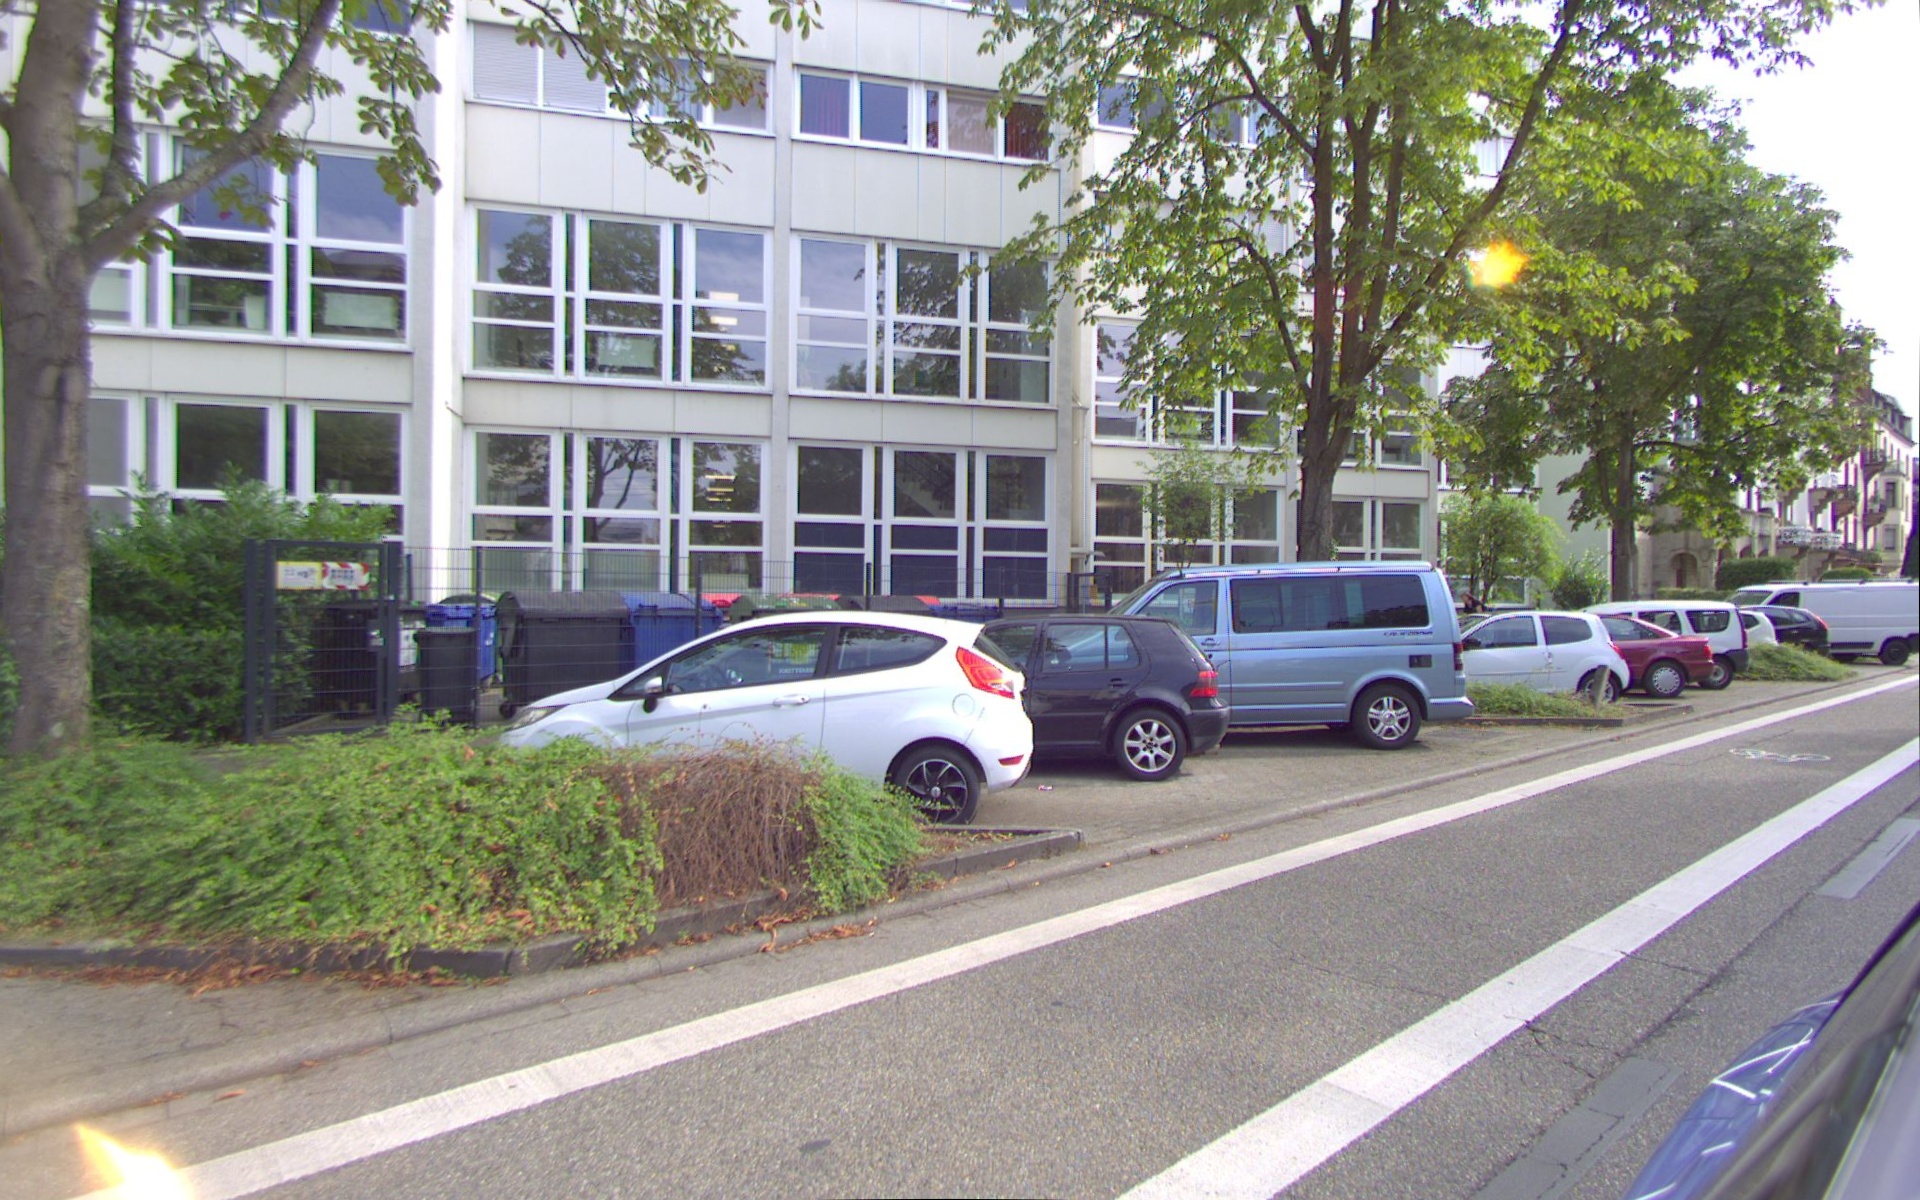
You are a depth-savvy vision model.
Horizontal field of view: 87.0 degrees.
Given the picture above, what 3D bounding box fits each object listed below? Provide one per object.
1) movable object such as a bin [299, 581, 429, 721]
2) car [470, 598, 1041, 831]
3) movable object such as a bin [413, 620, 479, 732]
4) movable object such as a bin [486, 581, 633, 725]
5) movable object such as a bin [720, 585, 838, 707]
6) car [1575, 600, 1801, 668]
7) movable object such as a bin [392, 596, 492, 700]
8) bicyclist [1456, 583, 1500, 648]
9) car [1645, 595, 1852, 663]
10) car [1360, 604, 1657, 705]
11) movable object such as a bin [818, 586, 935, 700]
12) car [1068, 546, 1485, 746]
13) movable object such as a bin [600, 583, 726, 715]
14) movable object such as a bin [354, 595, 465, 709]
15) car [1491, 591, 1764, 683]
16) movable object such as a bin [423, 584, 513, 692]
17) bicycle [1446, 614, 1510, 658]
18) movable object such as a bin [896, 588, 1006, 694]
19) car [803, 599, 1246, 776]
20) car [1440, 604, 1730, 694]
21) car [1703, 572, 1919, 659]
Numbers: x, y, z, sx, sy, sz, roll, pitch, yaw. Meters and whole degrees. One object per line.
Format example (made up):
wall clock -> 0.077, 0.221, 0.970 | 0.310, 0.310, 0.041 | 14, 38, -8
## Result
movable object such as a bin -> -6.921, 0.567, 11.829 | 1.056, 1.542, 1.121 | 0, -1, -16
car -> -1.319, 0.729, 7.374 | 3.759, 1.478, 1.639 | 0, 0, 4
movable object such as a bin -> -5.376, 0.768, 10.579 | 0.561, 1.117, 0.653 | 0, -1, -31
movable object such as a bin -> -4.584, 0.570, 11.589 | 1.310, 1.527, 1.071 | 1, -1, -39
movable object such as a bin -> -2.401, 0.581, 13.416 | 1.192, 1.527, 1.071 | 1, -1, -39
car -> 17.219, 0.784, 24.090 | 4.020, 1.530, 1.687 | 0, 0, 6
movable object such as a bin -> -7.206, 0.650, 14.145 | 1.056, 1.385, 1.037 | 0, -1, -16
bicyclist -> 12.294, 0.368, 24.006 | 0.787, 1.488, 0.648 | 1, 2, -42
car -> 20.271, 0.725, 26.154 | 3.891, 1.669, 1.687 | 0, 0, 6
car -> 8.355, 0.792, 15.698 | 3.651, 1.451, 1.687 | 0, 0, 6
movable object such as a bin -> -1.188, 0.587, 14.435 | 1.299, 1.527, 1.071 | 1, -1, -39
car -> 3.354, 0.471, 11.478 | 4.201, 2.040, 1.829 | 0, 0, 6
movable object such as a bin -> -3.690, 0.576, 12.567 | 1.192, 1.527, 1.071 | 1, -1, -39
movable object such as a bin -> -7.063, 0.641, 13.050 | 1.056, 1.385, 1.037 | 0, -1, -16
car -> 12.722, 0.676, 19.496 | 4.036, 1.689, 1.687 | 0, 0, 5
movable object such as a bin -> -7.492, 0.561, 15.474 | 1.056, 1.582, 1.037 | 0, -1, -16
bicycle -> 12.340, 0.835, 24.079 | 2.002, 0.974, 0.689 | 0, 2, -43
movable object such as a bin -> -0.137, 0.592, 15.364 | 1.299, 1.527, 1.071 | 1, -1, -39
car -> 0.567, 0.742, 9.456 | 3.759, 1.478, 1.675 | 0, 0, 4
car -> 10.684, 0.803, 17.565 | 3.909, 1.451, 1.685 | 0, 0, 8
car -> 24.177, 0.408, 28.300 | 4.875, 2.319, 2.380 | 0, 0, 8
